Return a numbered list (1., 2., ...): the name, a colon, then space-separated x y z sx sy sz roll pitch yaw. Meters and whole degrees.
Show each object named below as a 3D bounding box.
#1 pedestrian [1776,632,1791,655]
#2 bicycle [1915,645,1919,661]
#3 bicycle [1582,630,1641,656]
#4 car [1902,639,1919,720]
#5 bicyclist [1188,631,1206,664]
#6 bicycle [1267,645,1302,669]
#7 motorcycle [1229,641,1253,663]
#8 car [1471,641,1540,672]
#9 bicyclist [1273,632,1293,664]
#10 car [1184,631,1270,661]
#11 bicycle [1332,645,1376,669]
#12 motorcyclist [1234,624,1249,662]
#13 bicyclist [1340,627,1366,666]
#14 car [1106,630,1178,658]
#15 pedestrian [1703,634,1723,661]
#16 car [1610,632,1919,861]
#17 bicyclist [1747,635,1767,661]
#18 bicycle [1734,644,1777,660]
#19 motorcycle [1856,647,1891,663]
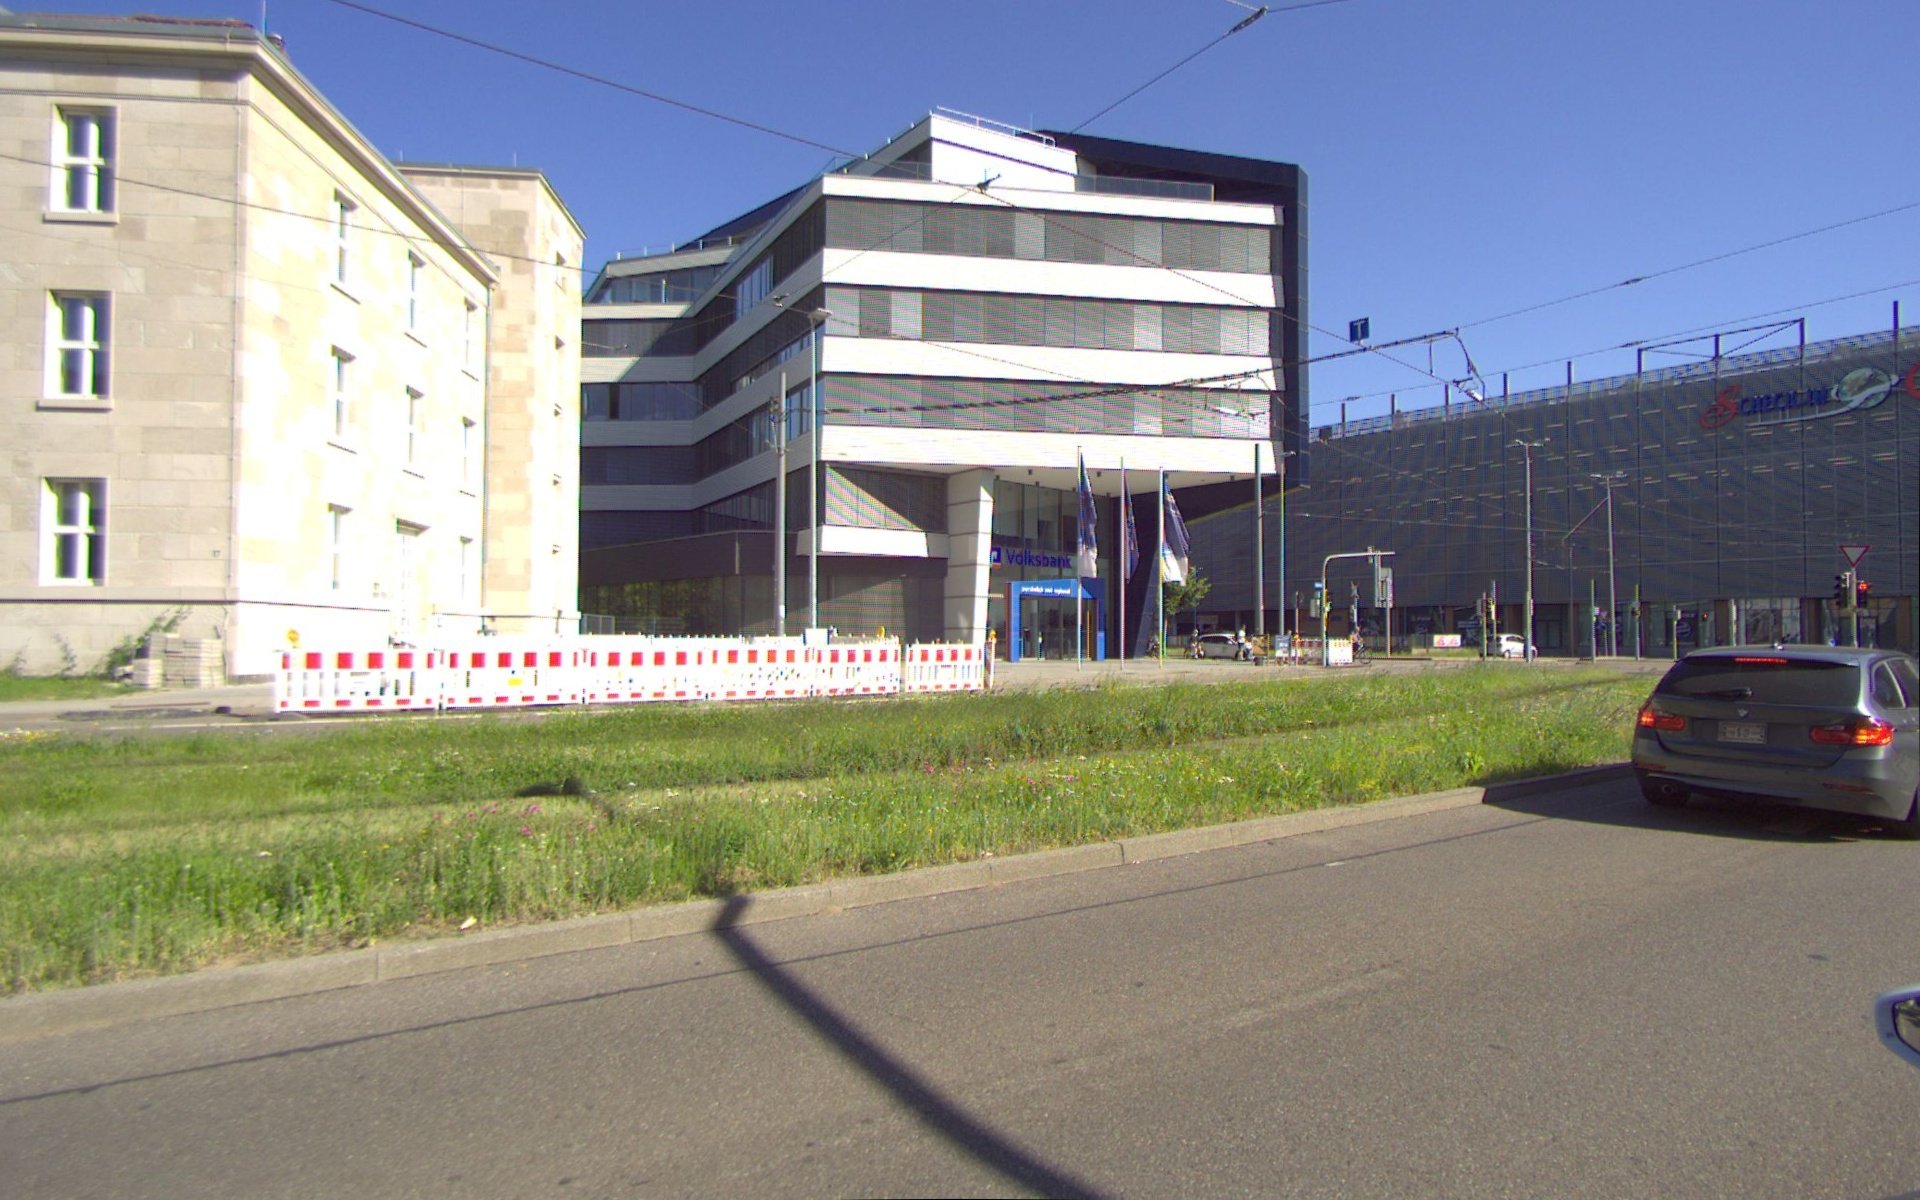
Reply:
1. pedestrian: 62.222 3.289 75.886 0.616 1.787 0.840 2 -2 -44
2. bicycle: 66.913 3.644 68.916 1.137 1.073 2.006 2 -3 -44
3. bicycle: 54.875 3.605 84.622 1.320 2.040 3.949 1 -1 -43
4. car: 18.952 1.508 18.886 3.757 1.442 1.616 2 0 -44
5. bicyclist: 13.380 2.665 56.677 0.755 1.812 0.759 -1 -2 43
6. bicycle: 16.964 2.975 52.479 1.559 1.121 0.730 3 0 43
7. motorcycle: 15.162 2.790 54.160 0.480 1.136 1.175 2 -2 -44
8. car: 35.101 3.621 64.640 3.941 1.817 1.749 2 -1 -22
9. bicyclist: 16.861 2.489 52.446 0.774 1.670 0.686 -1 -2 44
10. car: 15.240 2.592 57.526 4.443 1.656 1.827 -2 -2 45
11. bicycle: 19.382 2.781 49.458 0.847 1.130 1.811 2 -3 -43
12. motorcyclist: 15.180 2.328 54.162 0.494 2.040 0.622 2 -2 -43
13. bicyclist: 19.363 2.280 49.485 0.848 1.884 0.893 2 -2 -43
14. car: 11.962 2.889 66.351 1.824 1.741 4.596 1 -1 -40
15. pedestrian: 55.244 3.478 73.689 0.805 1.893 0.906 0 -2 -1
16. car: 7.528 1.069 8.730 4.426 1.442 1.721 2 0 -37
17. bicyclist: 56.816 3.411 71.611 0.828 1.826 0.817 0 -2 5
18. bicycle: 56.707 3.691 71.629 2.199 1.085 1.047 0 -2 6
19. motorcycle: 61.683 3.691 67.841 0.492 1.073 1.642 1 -2 -34
